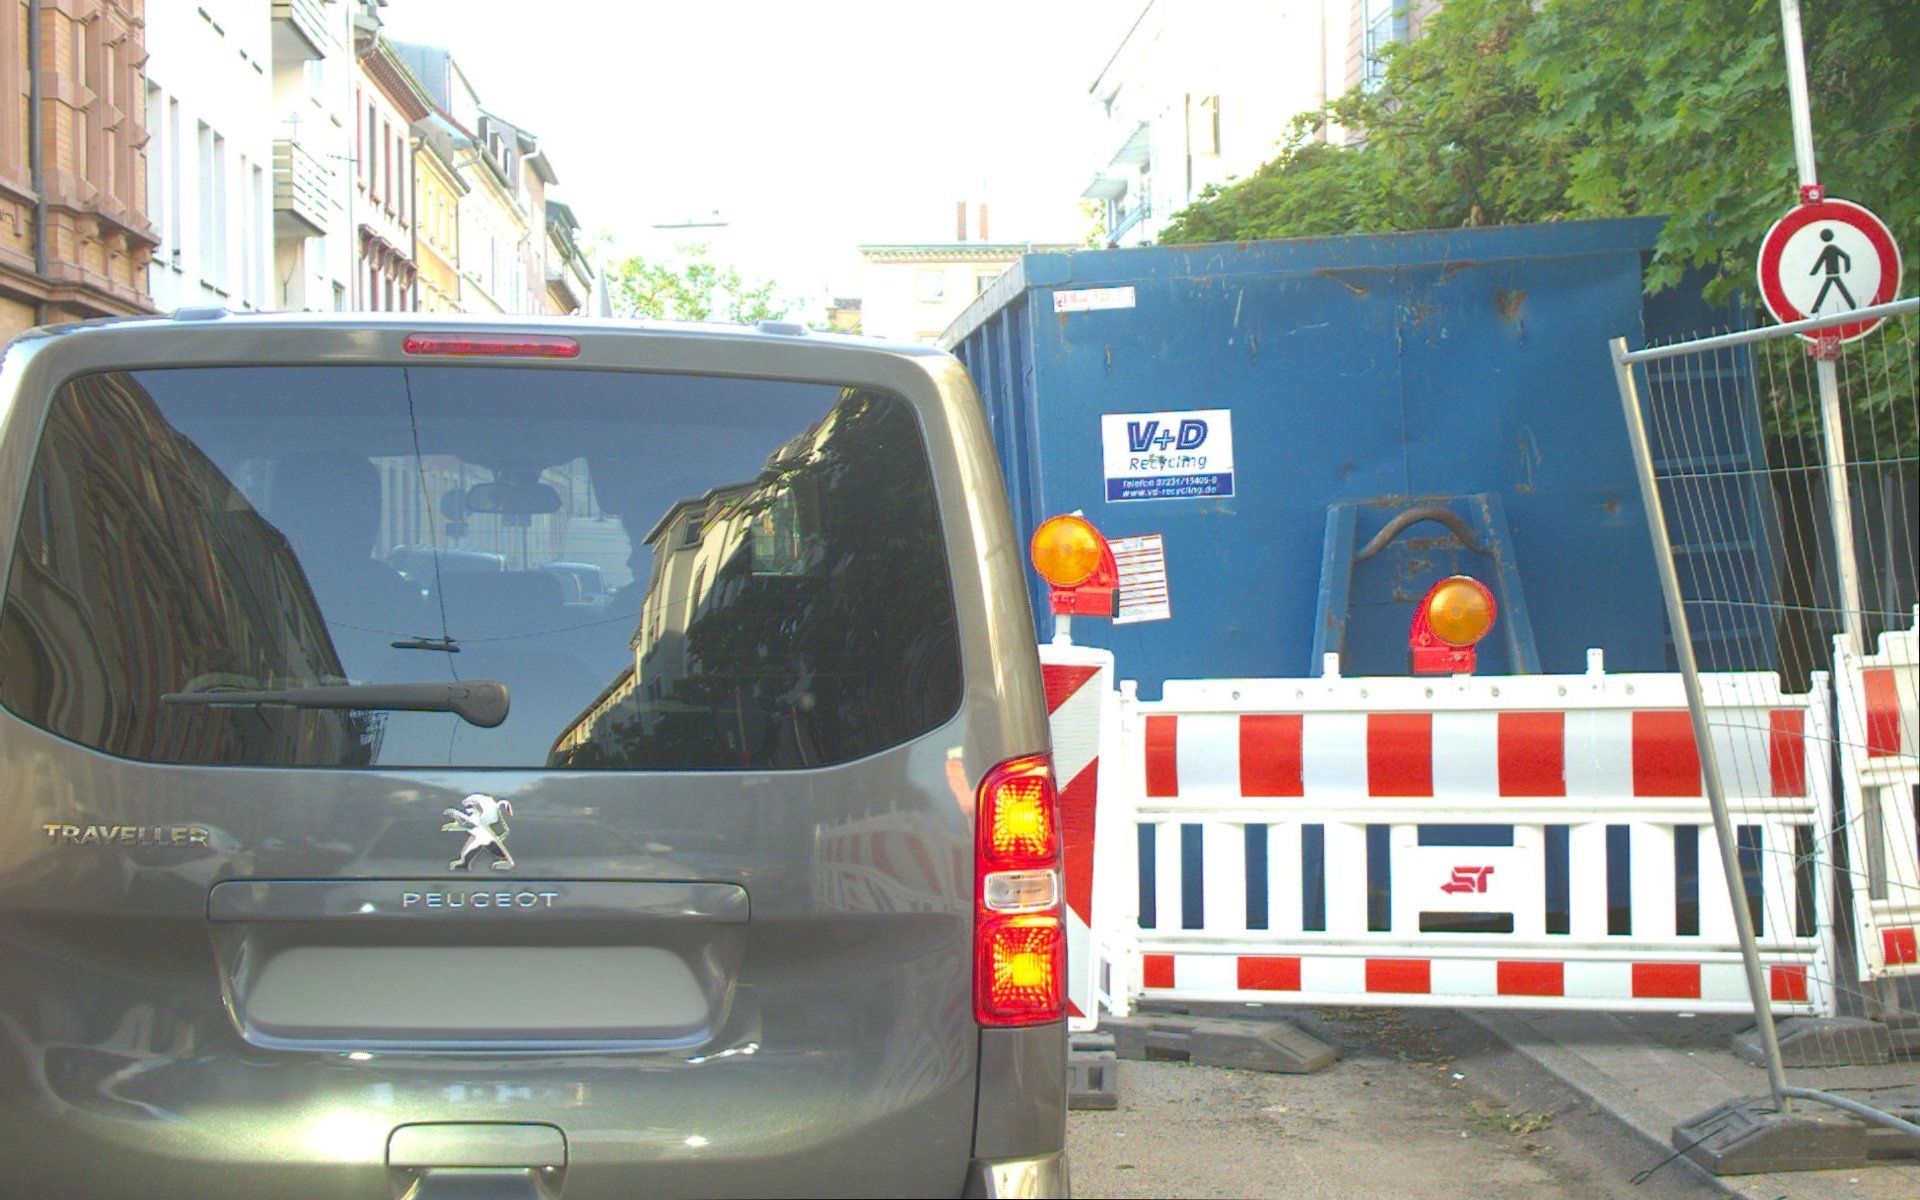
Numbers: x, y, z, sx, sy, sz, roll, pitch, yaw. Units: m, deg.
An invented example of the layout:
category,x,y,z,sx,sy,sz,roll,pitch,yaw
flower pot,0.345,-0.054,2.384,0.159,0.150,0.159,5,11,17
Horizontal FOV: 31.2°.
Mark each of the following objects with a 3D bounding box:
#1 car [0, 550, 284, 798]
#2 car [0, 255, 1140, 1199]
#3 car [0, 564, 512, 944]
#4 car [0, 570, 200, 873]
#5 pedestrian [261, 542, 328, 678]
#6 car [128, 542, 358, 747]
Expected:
category,x,y,z,sx,sy,sz,roll,pitch,yaw
car,-5.769,0.476,24.116,1.655,1.520,3.418,4,0,-7
car,-0.923,0.469,6.778,1.865,1.880,4.236,0,0,-7
car,-3.110,0.619,15.246,1.656,1.455,3.417,-2,0,2
car,-5.224,0.577,18.809,1.655,1.455,3.418,4,0,-7
pedestrian,-8.201,0.116,42.376,0.739,1.659,0.704,-1,1,-7
car,-6.449,0.380,31.197,1.666,1.660,3.092,4,0,-7
